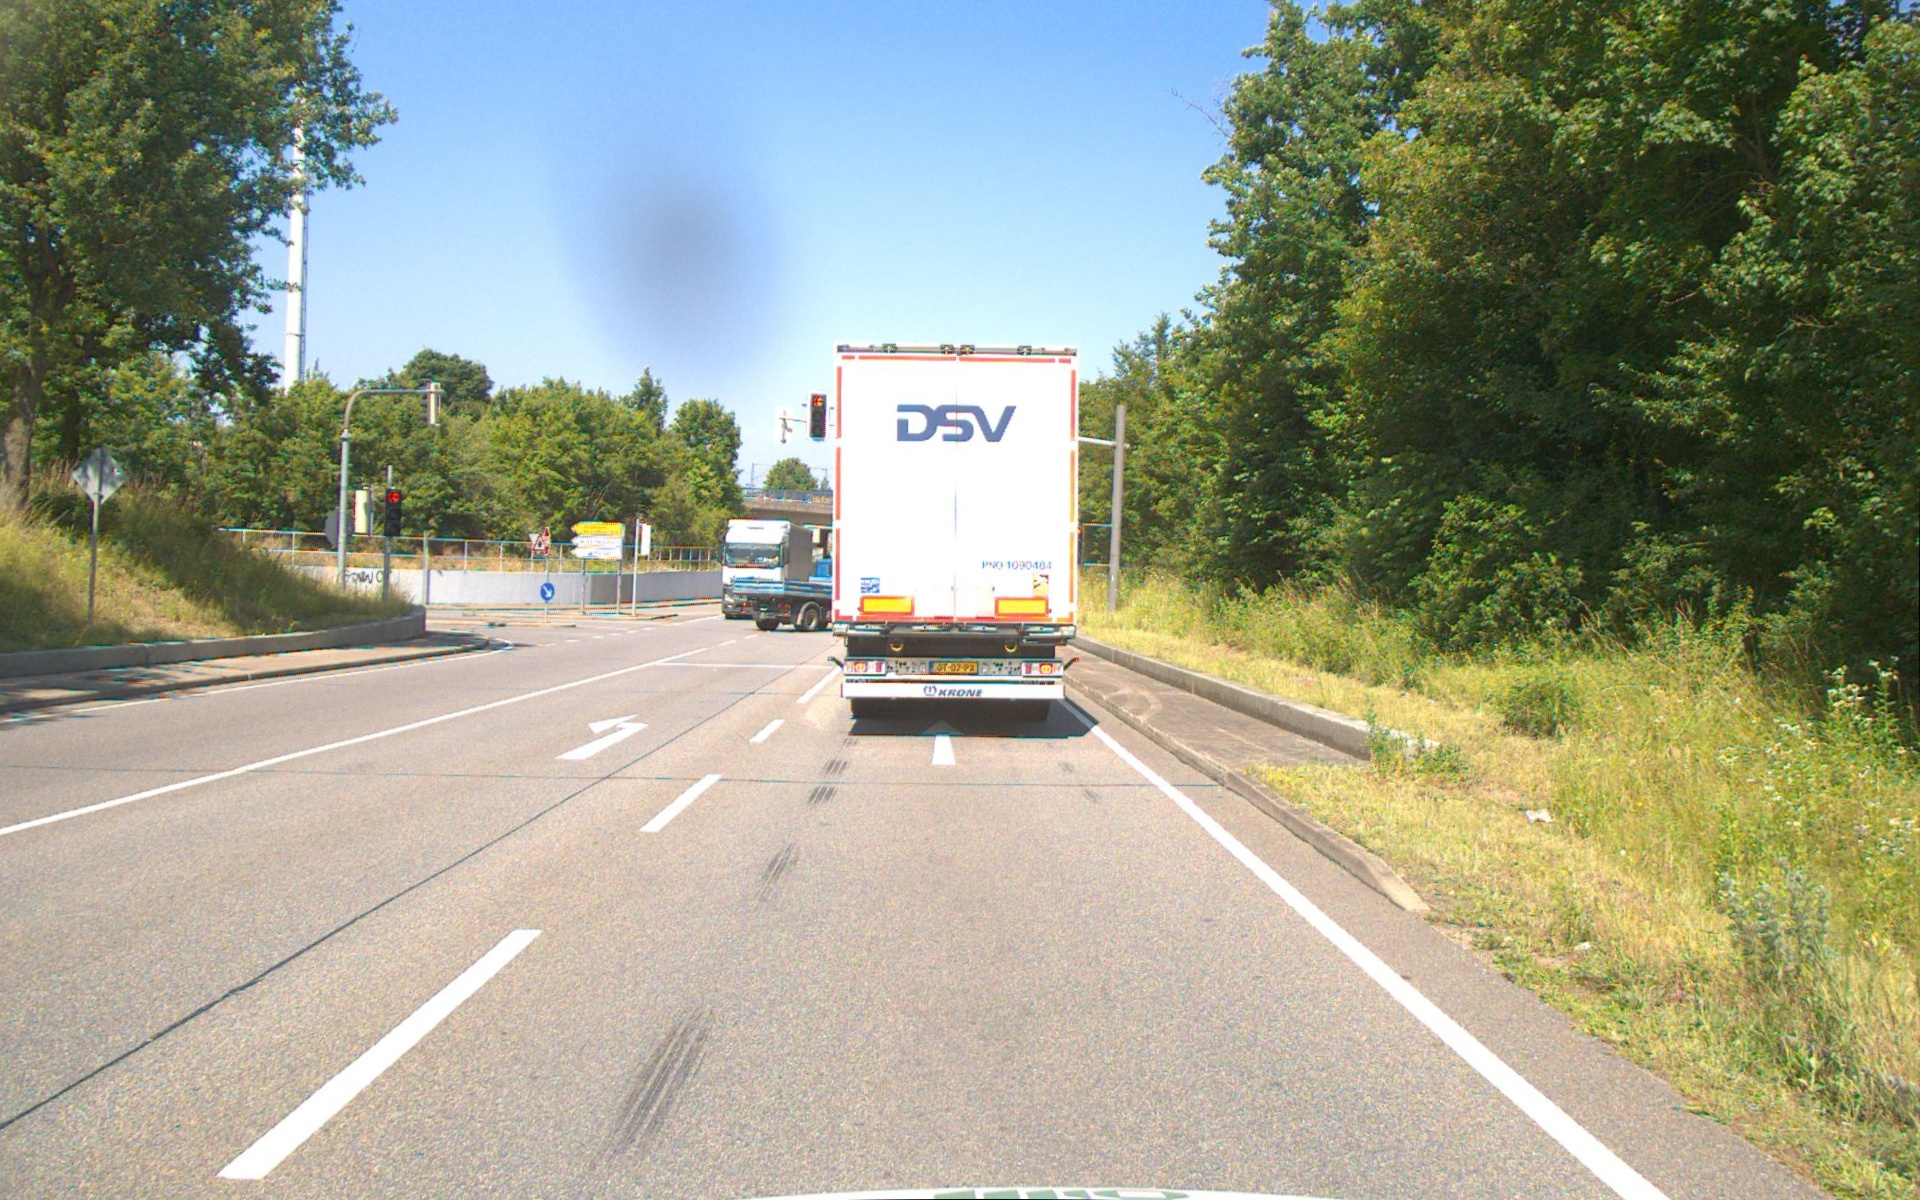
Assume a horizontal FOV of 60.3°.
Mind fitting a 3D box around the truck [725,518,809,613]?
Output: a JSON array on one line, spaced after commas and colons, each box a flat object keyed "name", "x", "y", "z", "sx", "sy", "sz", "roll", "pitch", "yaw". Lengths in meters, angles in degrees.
[{"name": "truck", "x": -8.351, "y": -1.496, "z": 72.884, "sx": 2.305, "sy": 3.815, "sz": 12.624, "roll": 1, "pitch": 1, "yaw": -1}]

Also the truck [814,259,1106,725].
[{"name": "truck", "x": -0.026, "y": -1.119, "z": 21.611, "sx": 2.889, "sy": 4.648, "sz": 9.862, "roll": 1, "pitch": 0, "yaw": 0}]

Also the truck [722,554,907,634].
[{"name": "truck", "x": -4.866, "y": -0.194, "z": 56.291, "sx": 2.662, "sy": 2.543, "sz": 6.404, "roll": 2, "pitch": 0, "yaw": 37}]
